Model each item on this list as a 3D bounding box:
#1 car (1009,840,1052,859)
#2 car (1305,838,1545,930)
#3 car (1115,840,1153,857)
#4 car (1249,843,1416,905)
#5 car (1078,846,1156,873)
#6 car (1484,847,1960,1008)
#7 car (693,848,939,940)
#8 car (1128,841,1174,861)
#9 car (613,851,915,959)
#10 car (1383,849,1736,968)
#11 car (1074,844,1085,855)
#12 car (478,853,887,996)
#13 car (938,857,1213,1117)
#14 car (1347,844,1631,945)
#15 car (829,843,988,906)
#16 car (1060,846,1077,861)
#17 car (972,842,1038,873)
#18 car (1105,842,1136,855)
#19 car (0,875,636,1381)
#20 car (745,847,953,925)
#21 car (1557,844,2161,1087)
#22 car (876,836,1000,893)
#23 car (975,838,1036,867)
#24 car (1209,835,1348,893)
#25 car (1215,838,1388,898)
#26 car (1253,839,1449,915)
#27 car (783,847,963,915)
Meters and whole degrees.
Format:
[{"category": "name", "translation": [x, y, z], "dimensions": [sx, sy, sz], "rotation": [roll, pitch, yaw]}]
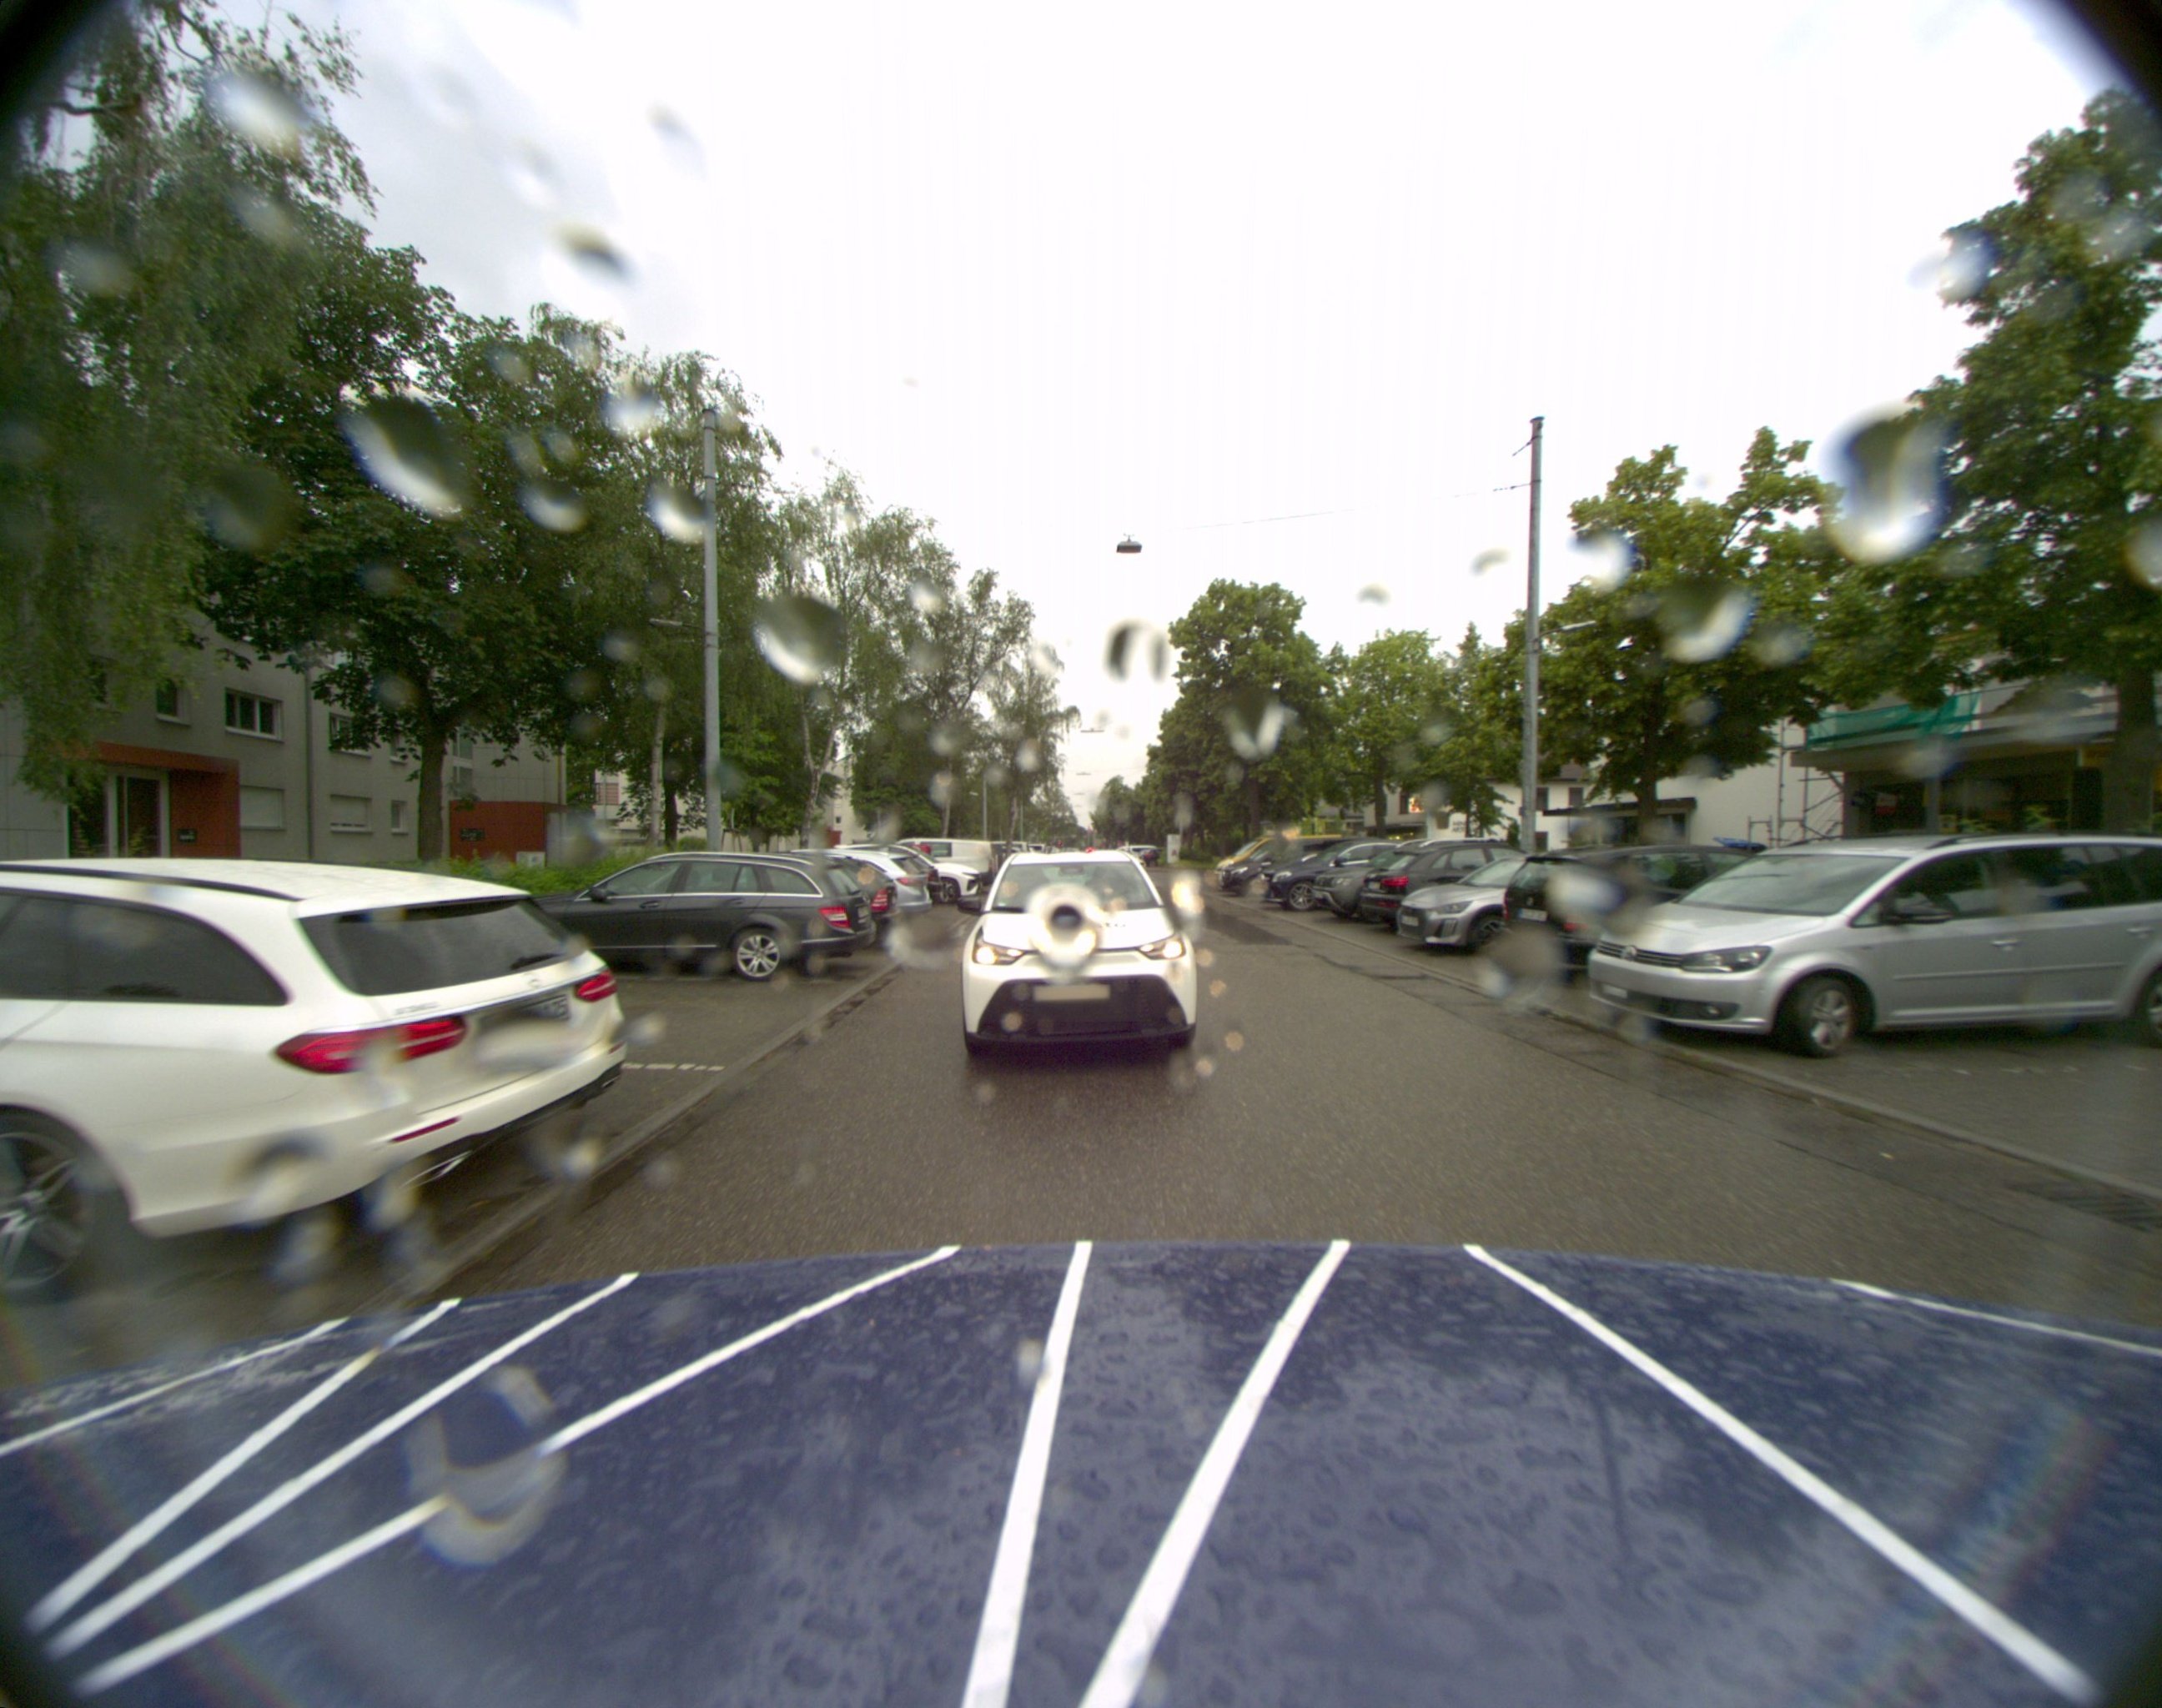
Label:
[{"category": "car", "translation": [-5.048, -0.447, 76.147], "dimensions": [3.995, 1.670, 1.902], "rotation": [-2, 1, 5]}, {"category": "car", "translation": [7.133, 0.581, 15.998], "dimensions": [4.283, 1.717, 1.715], "rotation": [-1, 1, -2]}, {"category": "car", "translation": [5.902, -0.632, 84.899], "dimensions": [3.998, 1.675, 1.999], "rotation": [-2, 1, -3]}, {"category": "car", "translation": [7.268, 0.559, 22.189], "dimensions": [4.283, 1.618, 1.715], "rotation": [-1, 1, -2]}, {"category": "car", "translation": [2.158, 0.341, 45.747], "dimensions": [4.246, 1.446, 2.003], "rotation": [-1, 2, 33]}, {"category": "car", "translation": [7.296, 0.771, 8.921], "dimensions": [4.283, 1.557, 1.635], "rotation": [-2, 1, -2]}, {"category": "car", "translation": [-4.868, 0.709, 14.385], "dimensions": [4.049, 1.488, 1.679], "rotation": [2, 1, -3]}, {"category": "car", "translation": [6.404, -0.320, 69.920], "dimensions": [3.998, 1.675, 1.999], "rotation": [-2, 1, -3]}, {"category": "car", "translation": [-4.838, 0.755, 12.043], "dimensions": [4.049, 1.431, 1.679], "rotation": [2, 1, -3]}, {"category": "car", "translation": [7.045, 0.744, 11.459], "dimensions": [4.283, 1.524, 1.715], "rotation": [-1, 1, -2]}, {"category": "car", "translation": [-0.266, -0.869, 137.705], "dimensions": [1.998, 1.804, 3.999], "rotation": [-2, 1, 1]}, {"category": "car", "translation": [-4.618, 0.789, 9.272], "dimensions": [4.049, 1.431, 1.679], "rotation": [2, 1, -3]}, {"category": "car", "translation": [-0.111, 0.872, 6.997], "dimensions": [1.733, 1.519, 4.137], "rotation": [-2, 1, -2]}, {"category": "car", "translation": [7.295, 0.679, 13.843], "dimensions": [4.283, 1.586, 1.715], "rotation": [-1, 1, -2]}, {"category": "car", "translation": [-4.935, 0.558, 22.086], "dimensions": [4.179, 1.609, 1.680], "rotation": [2, 1, 1]}, {"category": "car", "translation": [-1.602, -0.086, 97.054], "dimensions": [1.998, 1.804, 3.999], "rotation": [-2, 1, 1]}, {"category": "car", "translation": [-5.033, 0.210, 50.465], "dimensions": [3.995, 1.903, 1.902], "rotation": [-2, 1, 5]}, {"category": "car", "translation": [5.350, -0.770, 102.762], "dimensions": [3.998, 1.675, 1.999], "rotation": [-2, 1, -3]}, {"category": "car", "translation": [-4.728, 0.884, 3.249], "dimensions": [4.623, 1.431, 1.680], "rotation": [2, 1, 0]}, {"category": "car", "translation": [-4.986, 0.665, 16.760], "dimensions": [4.049, 1.488, 1.679], "rotation": [2, 1, -3]}, {"category": "car", "translation": [6.642, 0.787, 6.353], "dimensions": [4.283, 1.625, 1.715], "rotation": [-1, 1, -2]}, {"category": "car", "translation": [-5.069, 0.348, 27.340], "dimensions": [4.182, 1.856, 1.679], "rotation": [2, 1, -6]}, {"category": "car", "translation": [-5.462, -0.139, 55.307], "dimensions": [3.995, 1.903, 1.902], "rotation": [-2, 1, 5]}, {"category": "car", "translation": [7.226, 0.329, 28.074], "dimensions": [4.657, 1.947, 1.715], "rotation": [-1, 1, -2]}, {"category": "car", "translation": [7.161, 0.431, 24.970], "dimensions": [5.177, 1.789, 1.715], "rotation": [-1, 1, -2]}, {"category": "car", "translation": [6.688, 0.530, 19.085], "dimensions": [4.283, 1.717, 1.715], "rotation": [-1, 1, -2]}, {"category": "car", "translation": [-5.103, 0.650, 19.072], "dimensions": [4.049, 1.488, 1.679], "rotation": [2, 1, -3]}]
